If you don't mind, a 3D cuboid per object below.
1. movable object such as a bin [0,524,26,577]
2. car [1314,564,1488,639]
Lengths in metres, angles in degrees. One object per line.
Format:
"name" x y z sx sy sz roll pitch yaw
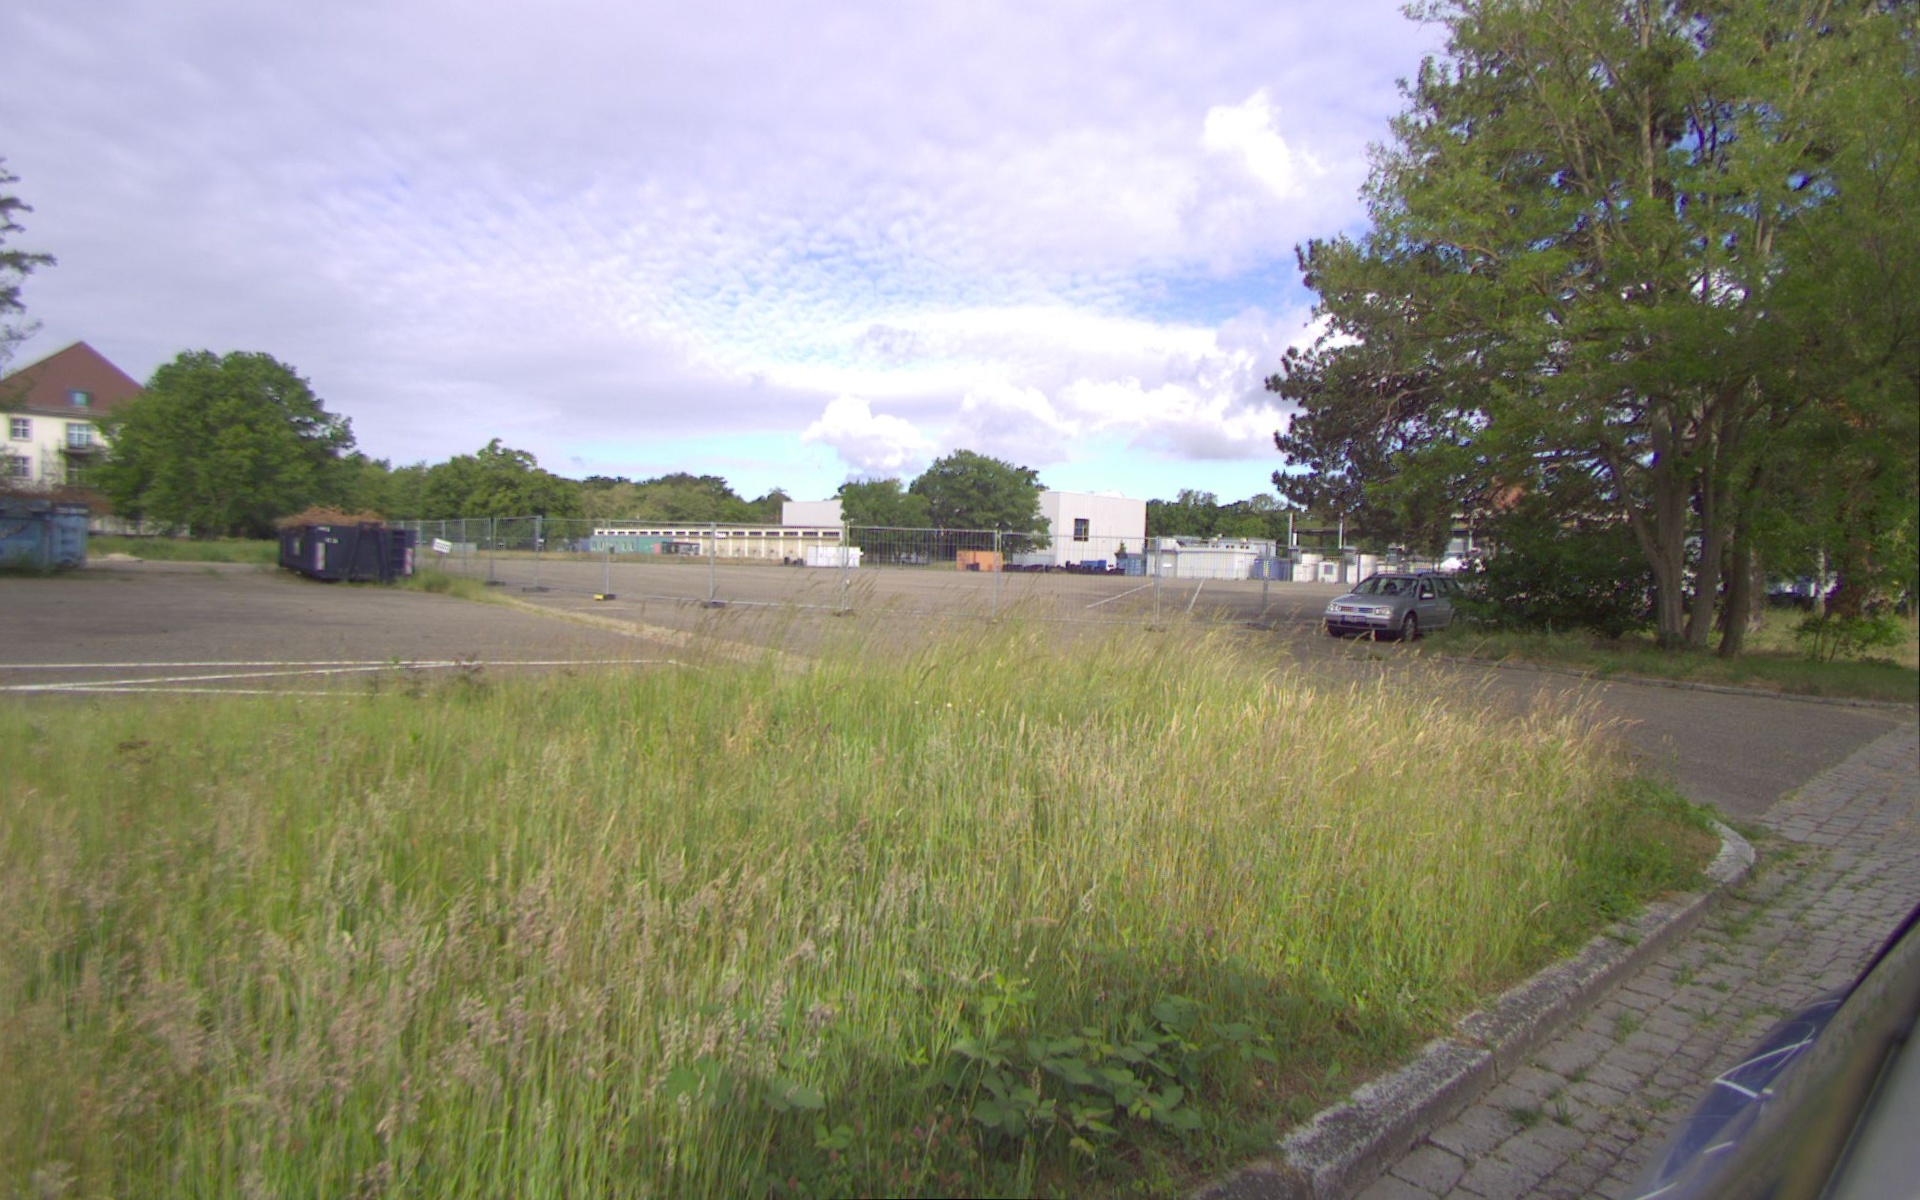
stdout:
"movable object such as a bin" -20.931 -1.072 20.794 2.499 1.097 1.064 1 2 -42
"car" 9.800 -0.004 22.357 4.250 1.466 1.759 0 3 -40
